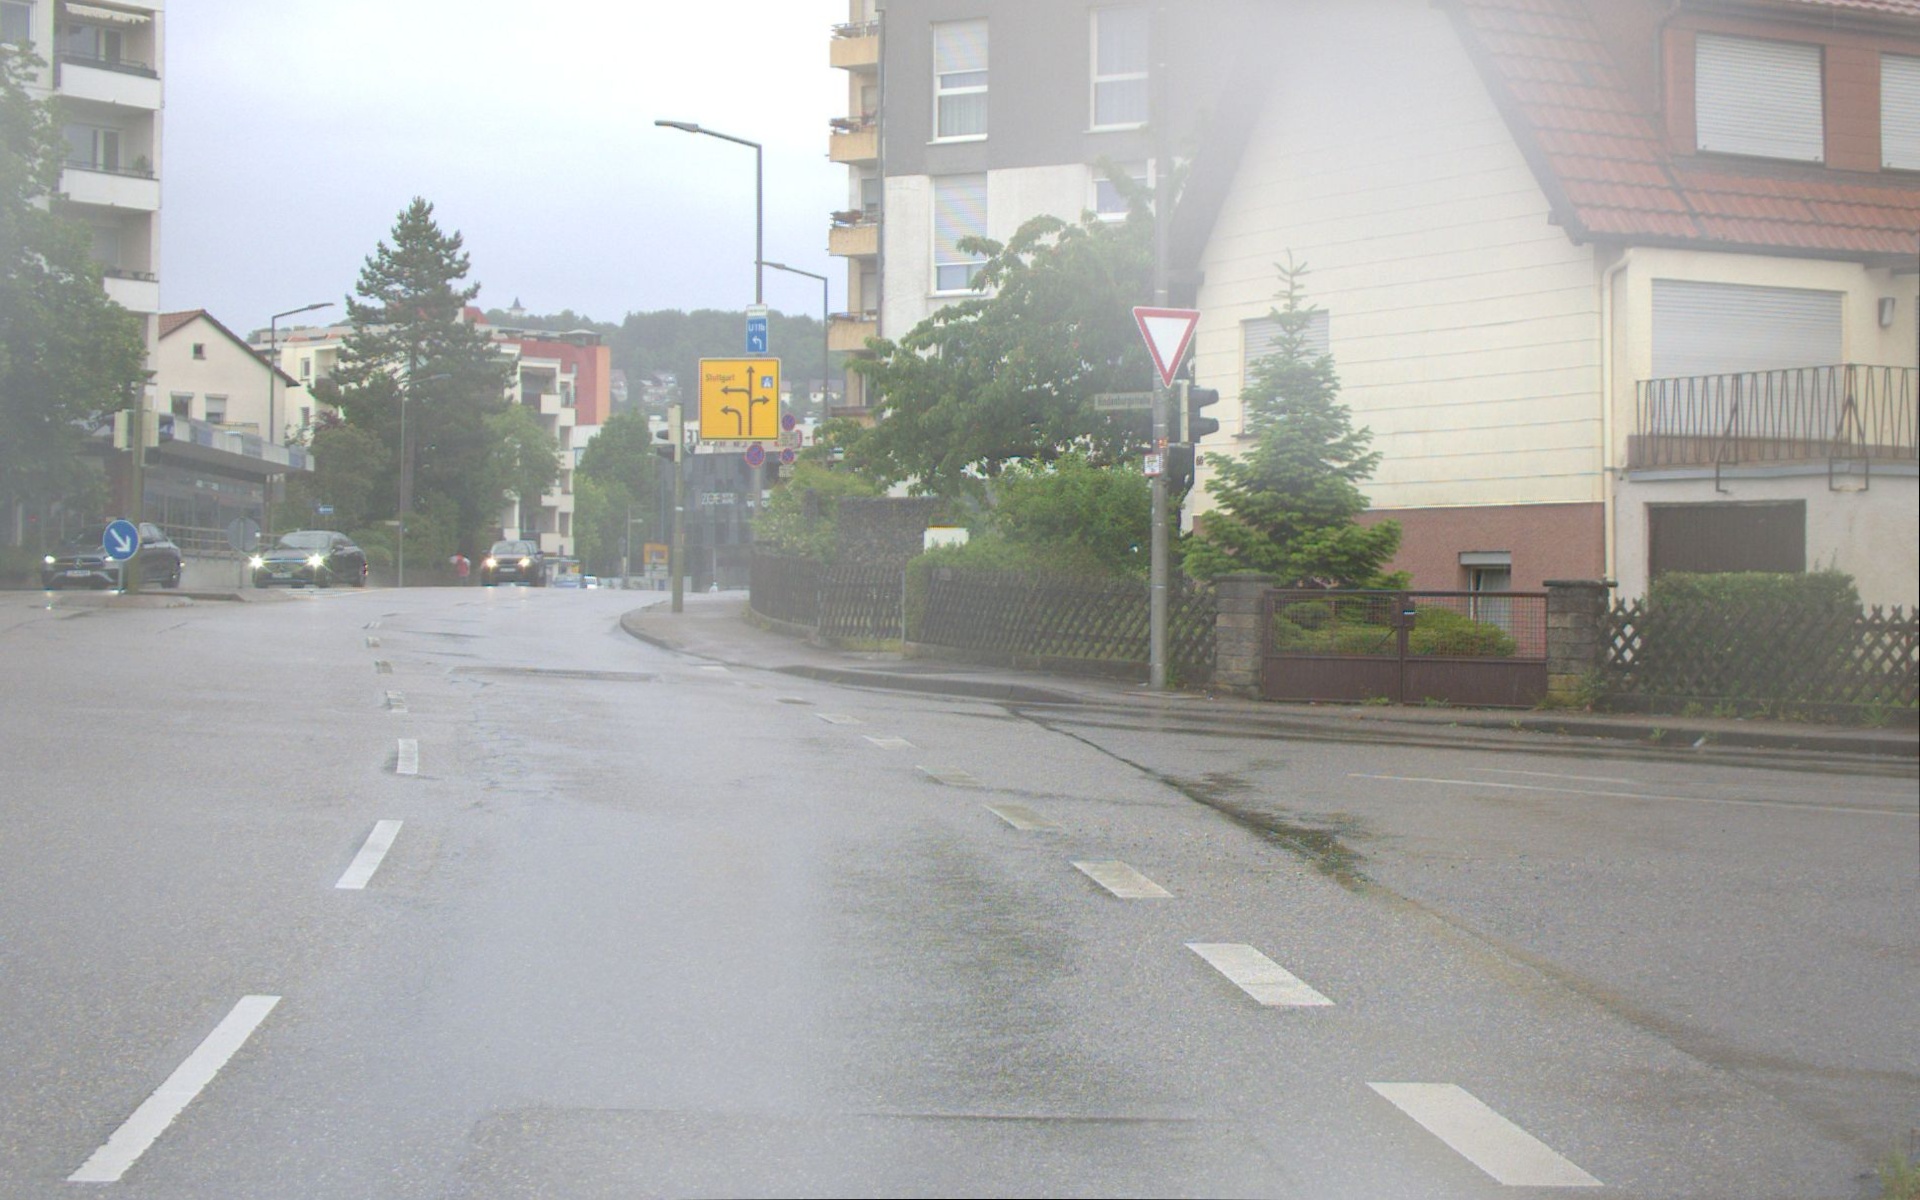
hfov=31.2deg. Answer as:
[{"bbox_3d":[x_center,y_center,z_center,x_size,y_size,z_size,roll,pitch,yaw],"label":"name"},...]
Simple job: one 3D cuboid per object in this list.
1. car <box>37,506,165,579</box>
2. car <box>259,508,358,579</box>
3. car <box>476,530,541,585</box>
[{"bbox_3d":[-17.960,-1.197,72.035,1.993,1.458,4.001,1,1,-5],"label":"car"},{"bbox_3d":[-16.103,-1.385,85.117,1.993,1.673,4.001,1,1,-5],"label":"car"},{"bbox_3d":[-15.255,-1.435,116.410,1.993,1.805,4.001,1,1,-5],"label":"car"}]
